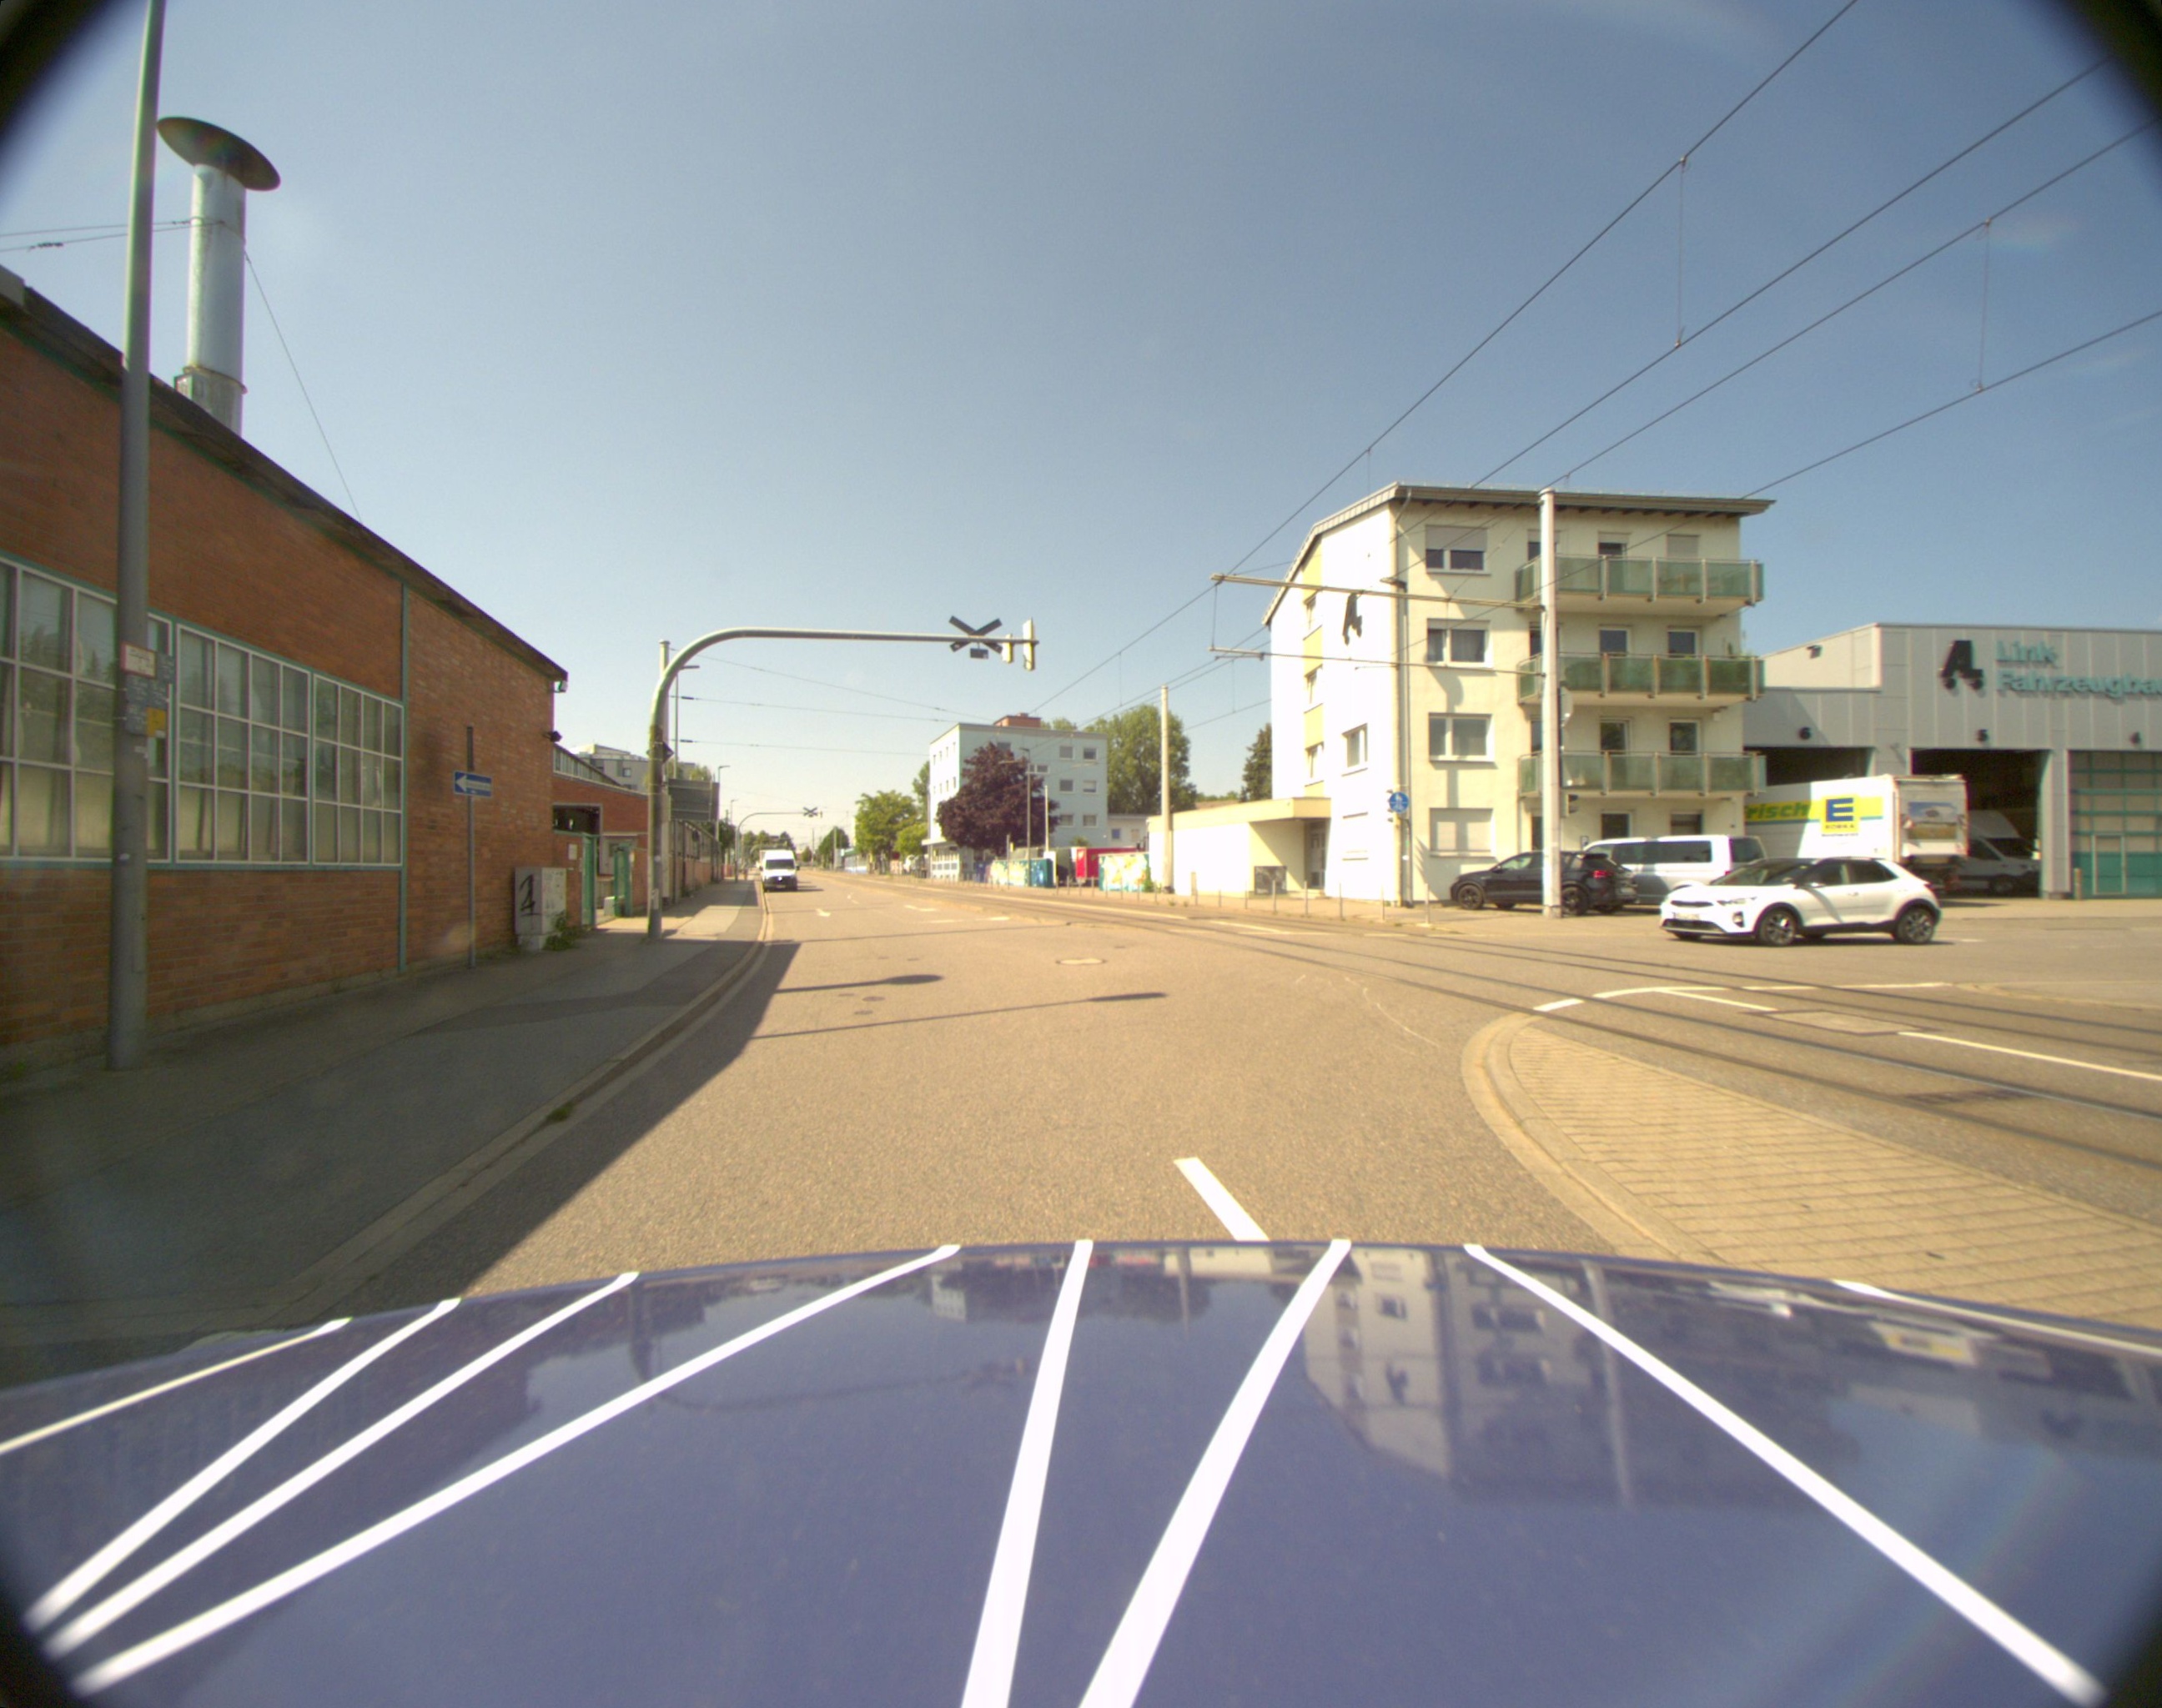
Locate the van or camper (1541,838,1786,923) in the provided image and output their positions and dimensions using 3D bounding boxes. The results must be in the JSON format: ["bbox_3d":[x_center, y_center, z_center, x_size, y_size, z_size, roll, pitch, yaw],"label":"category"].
[{"bbox_3d":[14.619,0.604,19.403,2.003,1.896,4.546,0,0,-25],"label":"van or camper"}]

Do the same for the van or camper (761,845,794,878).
[{"bbox_3d":[-27.758,0.680,69.389,2.527,2.770,7.102,0,0,-24],"label":"van or camper"}]

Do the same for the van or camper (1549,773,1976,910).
[{"bbox_3d":[22.104,-0.381,26.356,2.782,3.671,11.624,0,1,-11],"label":"van or camper"}]

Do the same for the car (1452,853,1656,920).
[{"bbox_3d":[11.819,0.756,19.253,1.883,1.512,3.965,0,-1,-29],"label":"car"}]

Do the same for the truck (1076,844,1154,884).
[{"bbox_3d":[2.298,0.630,51.451,4.838,2.611,2.186,0,0,-17],"label":"truck"}]

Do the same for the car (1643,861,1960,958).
[{"bbox_3d":[12.415,0.892,13.240,4.108,1.521,1.737,0,0,-6],"label":"car"}]

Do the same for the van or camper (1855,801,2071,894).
[{"bbox_3d":[33.014,-0.176,28.735,2.000,3.186,5.057,-1,-1,-6],"label":"van or camper"}]

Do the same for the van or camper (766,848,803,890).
[{"bbox_3d":[-19.088,0.958,48.784,2.047,2.519,5.858,0,0,-23],"label":"van or camper"}]

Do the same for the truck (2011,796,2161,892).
[{"bbox_3d":[43.900,-0.395,30.747,2.623,3.759,7.858,0,0,-4],"label":"truck"}]
